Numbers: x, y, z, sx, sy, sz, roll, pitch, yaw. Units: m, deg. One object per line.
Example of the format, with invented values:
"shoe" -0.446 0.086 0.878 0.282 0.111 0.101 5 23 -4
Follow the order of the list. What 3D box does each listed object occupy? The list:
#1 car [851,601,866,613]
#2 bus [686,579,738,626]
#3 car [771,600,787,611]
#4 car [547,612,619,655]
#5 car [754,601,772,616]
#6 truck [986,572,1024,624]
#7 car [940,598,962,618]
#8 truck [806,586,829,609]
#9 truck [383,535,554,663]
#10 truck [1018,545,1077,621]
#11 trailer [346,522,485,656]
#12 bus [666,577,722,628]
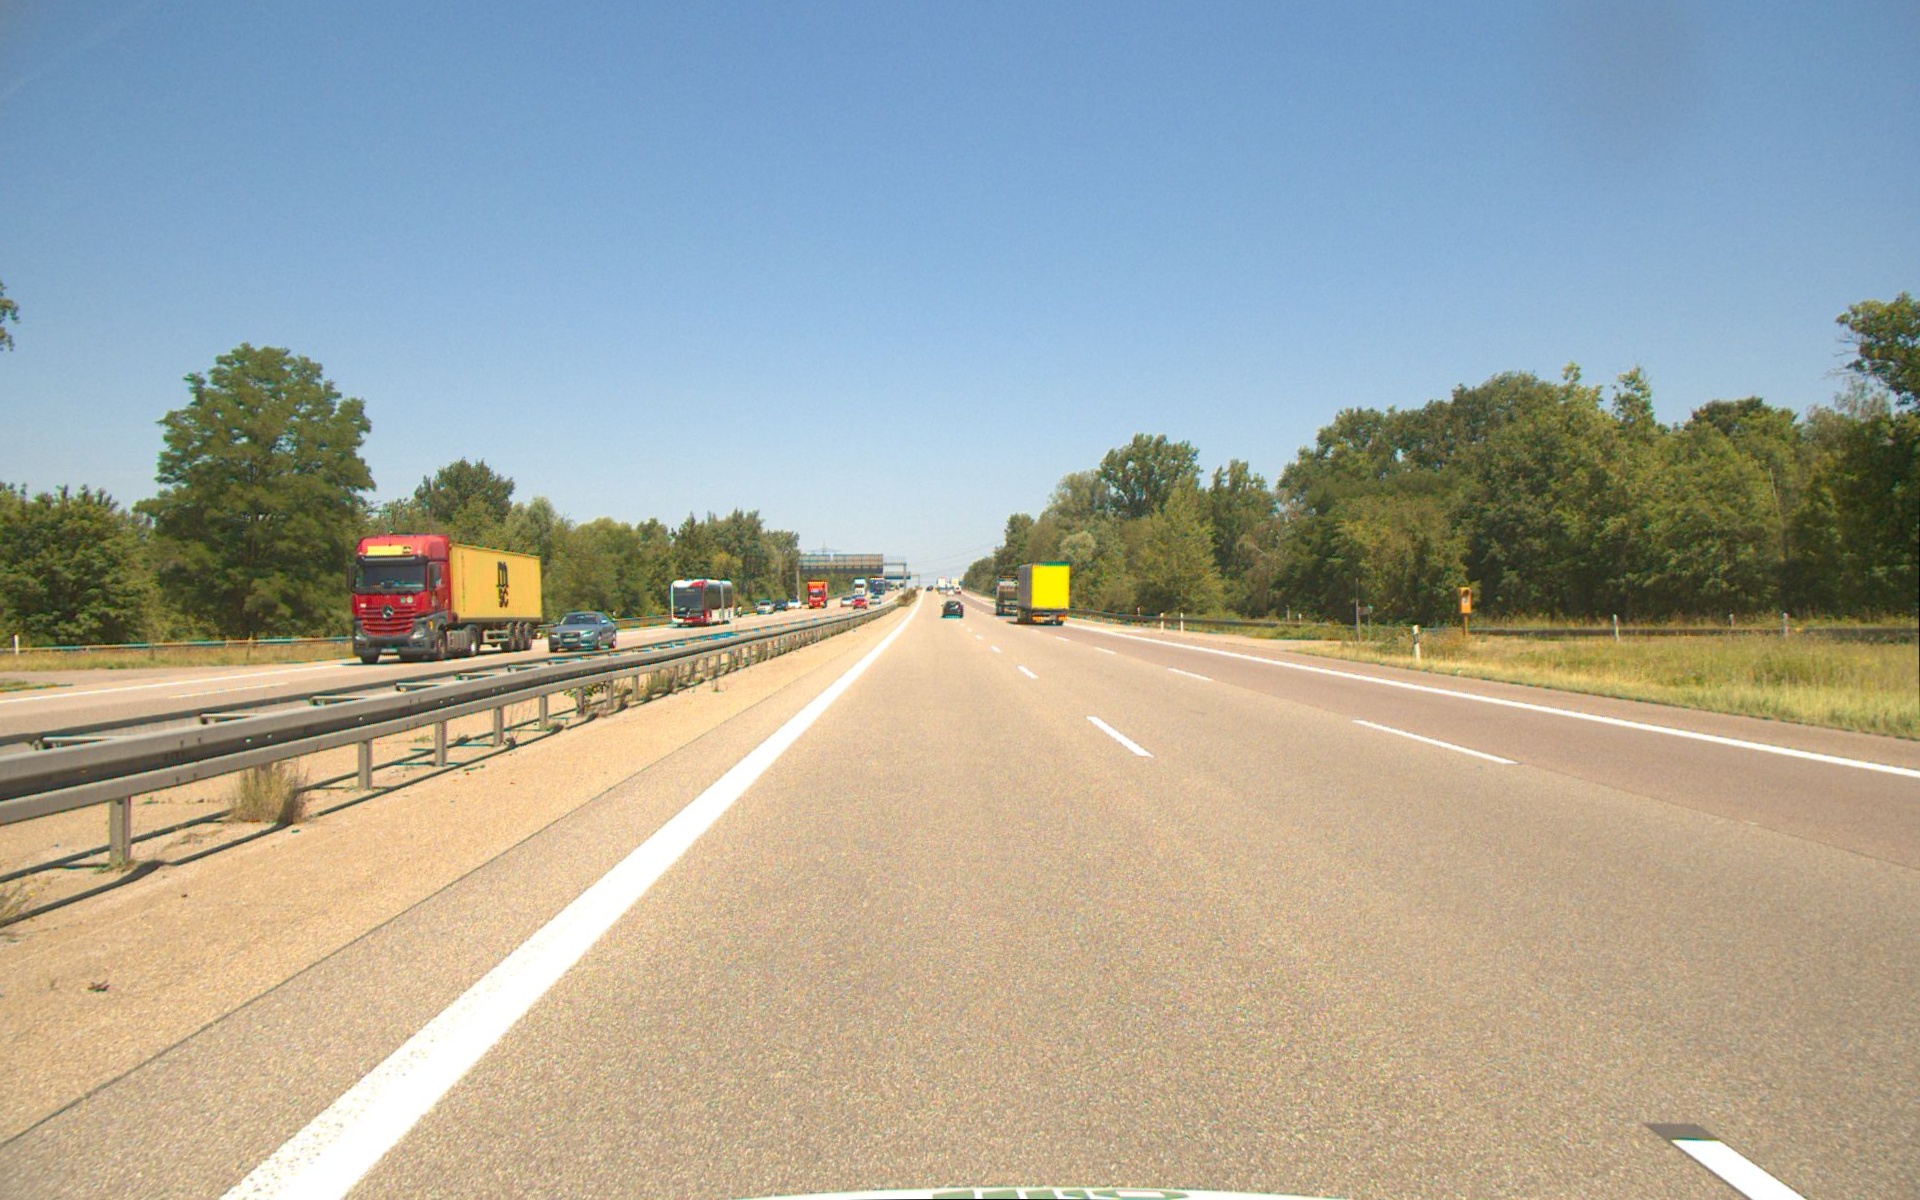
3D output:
"car" -13.386 0.941 218.096 1.772 1.530 3.999 -1 0 -1
"bus" -19.611 0.196 131.197 2.707 3.507 10.143 -1 0 -1
"car" -24.925 0.767 228.257 1.772 1.530 3.999 -1 0 -1
"car" -13.801 1.206 60.771 1.686 1.404 4.784 -4 -1 -2
"car" -23.987 1.031 201.854 1.772 1.803 3.999 -1 0 -1
"truck" 4.427 -0.202 166.994 3.298 4.966 15.084 1 0 0
"car" -0.808 0.671 143.776 1.790 1.736 3.999 1 0 -1
"truck" -21.198 -0.350 247.009 2.545 3.268 12.122 1 0 -1
"truck" -17.823 -0.030 61.107 2.547 4.118 12.689 -3 0 -1
"truck" 6.109 -1.129 118.252 3.308 4.966 15.084 1 0 0
"trailer" -17.636 -0.337 53.981 2.550 4.061 6.028 1 0 -1
"bus" -19.482 0.183 121.650 2.707 3.507 8.930 -1 0 -1
